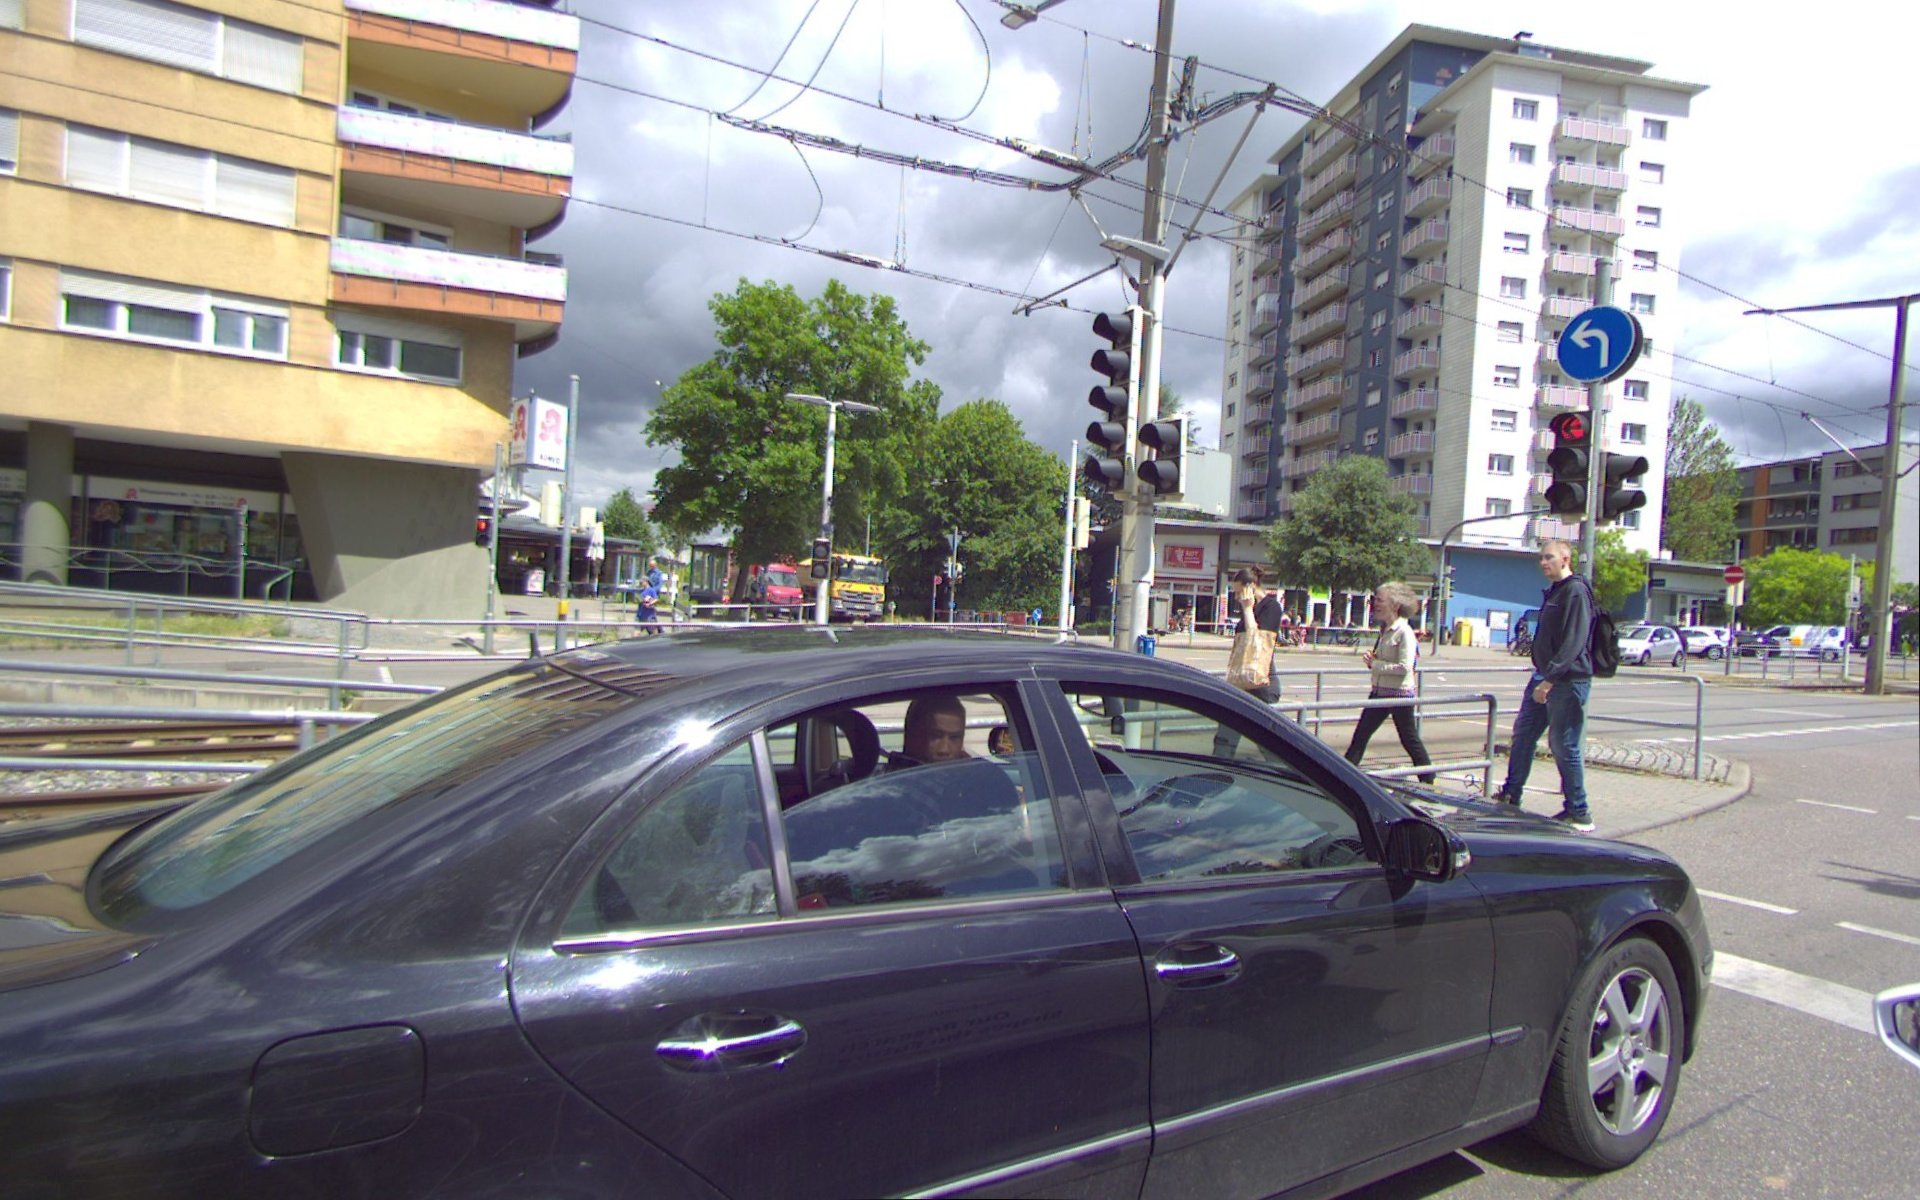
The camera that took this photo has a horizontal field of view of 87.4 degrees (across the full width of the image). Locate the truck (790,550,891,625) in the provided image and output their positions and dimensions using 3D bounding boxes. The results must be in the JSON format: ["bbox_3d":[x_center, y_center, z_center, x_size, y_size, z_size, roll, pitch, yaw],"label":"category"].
[{"bbox_3d":[-5.841,-0.561,47.971,2.733,3.244,7.442,2,0,-23],"label":"truck"}]

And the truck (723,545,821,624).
[{"bbox_3d":[-9.050,-0.681,47.476,2.692,3.320,8.876,2,0,-23],"label":"truck"}]

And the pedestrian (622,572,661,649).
[{"bbox_3d":[-7.116,0.220,22.444,0.769,1.638,0.761,0,4,-23],"label":"pedestrian"}]

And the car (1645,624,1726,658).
[{"bbox_3d":[37.885,2.122,52.598,1.921,1.591,4.220,2,0,13],"label":"car"}]

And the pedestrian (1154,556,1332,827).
[{"bbox_3d":[2.024,0.600,7.215,0.766,1.789,0.925,1,1,-41],"label":"pedestrian"}]

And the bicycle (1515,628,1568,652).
[{"bbox_3d":[24.814,1.710,42.908,0.490,0.947,1.933,2,0,-35],"label":"bicycle"}]

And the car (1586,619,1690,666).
[{"bbox_3d":[26.904,1.690,39.864,3.827,1.715,1.928,2,0,-30],"label":"car"}]

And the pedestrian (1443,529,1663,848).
[{"bbox_3d":[4.014,0.545,6.832,0.888,1.968,0.960,1,1,-34],"label":"pedestrian"}]

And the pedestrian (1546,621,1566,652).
[{"bbox_3d":[32.895,2.014,55.458,0.693,1.637,0.760,1,0,-43],"label":"pedestrian"}]

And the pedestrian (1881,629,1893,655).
[{"bbox_3d":[64.856,2.930,70.273,0.401,1.739,0.542,1,0,-39],"label":"pedestrian"}]

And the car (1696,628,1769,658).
[{"bbox_3d":[43.219,2.385,56.287,1.754,1.439,4.219,2,0,15],"label":"car"}]

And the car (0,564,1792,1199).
[{"bbox_3d":[0.116,0.739,2.622,4.491,1.481,1.720,2,0,-30],"label":"car"}]

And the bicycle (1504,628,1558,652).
[{"bbox_3d":[24.044,1.682,42.324,0.490,0.947,1.933,2,0,-35],"label":"bicycle"}]

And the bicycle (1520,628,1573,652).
[{"bbox_3d":[25.199,1.725,43.182,0.490,0.947,1.933,2,0,-35],"label":"bicycle"}]

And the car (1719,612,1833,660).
[{"bbox_3d":[47.511,2.013,58.742,2.776,2.511,6.724,2,0,17],"label":"car"}]

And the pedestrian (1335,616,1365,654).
[{"bbox_3d":[18.166,1.625,46.801,0.977,1.681,0.969,2,-1,-4],"label":"pedestrian"}]

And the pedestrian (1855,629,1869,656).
[{"bbox_3d":[58.092,2.736,64.682,0.400,1.739,0.544,1,0,-30],"label":"pedestrian"}]

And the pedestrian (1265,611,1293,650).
[{"bbox_3d":[14.090,1.348,44.374,1.077,1.681,0.948,2,-1,14],"label":"pedestrian"}]

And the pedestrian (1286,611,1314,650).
[{"bbox_3d":[15.187,1.345,44.914,1.077,1.681,0.948,2,-1,14],"label":"pedestrian"}]

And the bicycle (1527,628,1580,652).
[{"bbox_3d":[25.661,1.741,43.461,0.490,0.947,1.933,2,0,-35],"label":"bicycle"}]

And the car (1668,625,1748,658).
[{"bbox_3d":[40.522,2.205,54.504,1.921,1.558,4.220,2,0,13],"label":"car"}]

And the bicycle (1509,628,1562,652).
[{"bbox_3d":[24.404,1.695,42.618,0.490,0.947,1.933,2,0,-35],"label":"bicycle"}]

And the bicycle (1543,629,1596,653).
[{"bbox_3d":[26.623,1.775,43.889,0.490,0.947,1.933,2,0,-35],"label":"bicycle"}]

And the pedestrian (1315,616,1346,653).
[{"bbox_3d":[17.154,1.590,46.528,0.977,1.681,0.969,2,-1,-4],"label":"pedestrian"}]

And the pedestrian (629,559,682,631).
[{"bbox_3d":[-7.471,-0.116,24.679,0.751,1.636,0.780,8,1,22],"label":"pedestrian"}]

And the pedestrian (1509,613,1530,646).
[{"bbox_3d":[28.720,1.500,51.569,0.693,1.637,0.760,1,0,-43],"label":"pedestrian"}]

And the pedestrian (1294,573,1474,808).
[{"bbox_3d":[3.262,0.673,7.788,0.940,1.696,0.868,1,-1,-13],"label":"pedestrian"}]

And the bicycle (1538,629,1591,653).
[{"bbox_3d":[26.214,1.760,43.608,0.490,0.947,1.933,2,0,-35],"label":"bicycle"}]

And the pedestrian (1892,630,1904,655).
[{"bbox_3d":[66.473,2.983,71.174,0.663,1.739,0.542,1,0,-40],"label":"pedestrian"}]
